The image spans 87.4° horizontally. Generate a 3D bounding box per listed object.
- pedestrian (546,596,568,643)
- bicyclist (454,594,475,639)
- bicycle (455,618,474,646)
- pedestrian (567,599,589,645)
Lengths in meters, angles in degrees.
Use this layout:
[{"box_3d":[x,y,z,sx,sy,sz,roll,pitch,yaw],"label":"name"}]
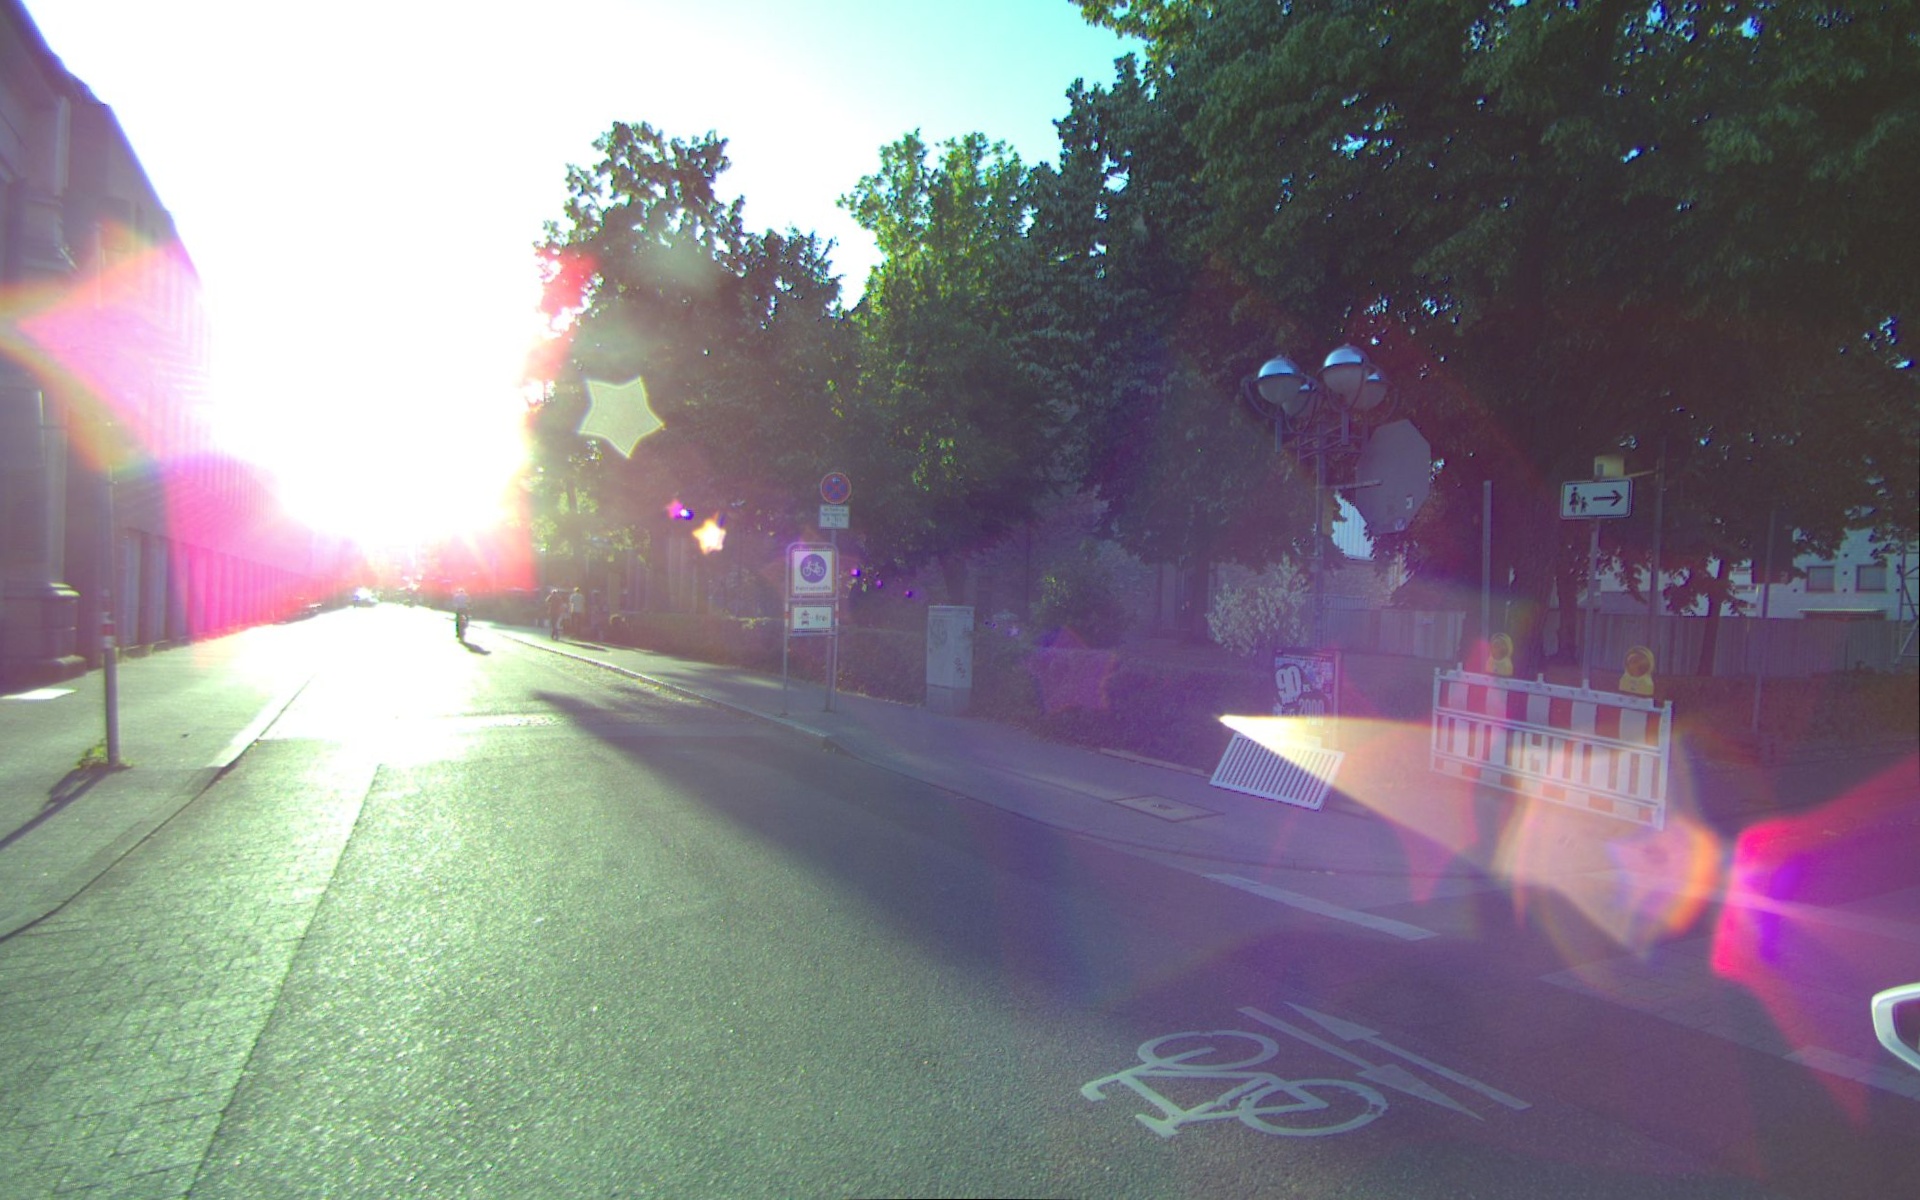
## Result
[{"box_3d":[-15.006,0.728,37.391,0.646,1.715,0.747,2,-1,-28],"label":"pedestrian"},{"box_3d":[-17.385,0.586,35.234,0.622,1.571,0.672,2,-1,-27],"label":"bicyclist"},{"box_3d":[-17.350,1.114,35.146,0.526,0.945,1.822,2,-1,-27],"label":"bicycle"},{"box_3d":[-14.421,0.832,37.899,0.646,1.715,0.747,2,-1,-28],"label":"pedestrian"}]
